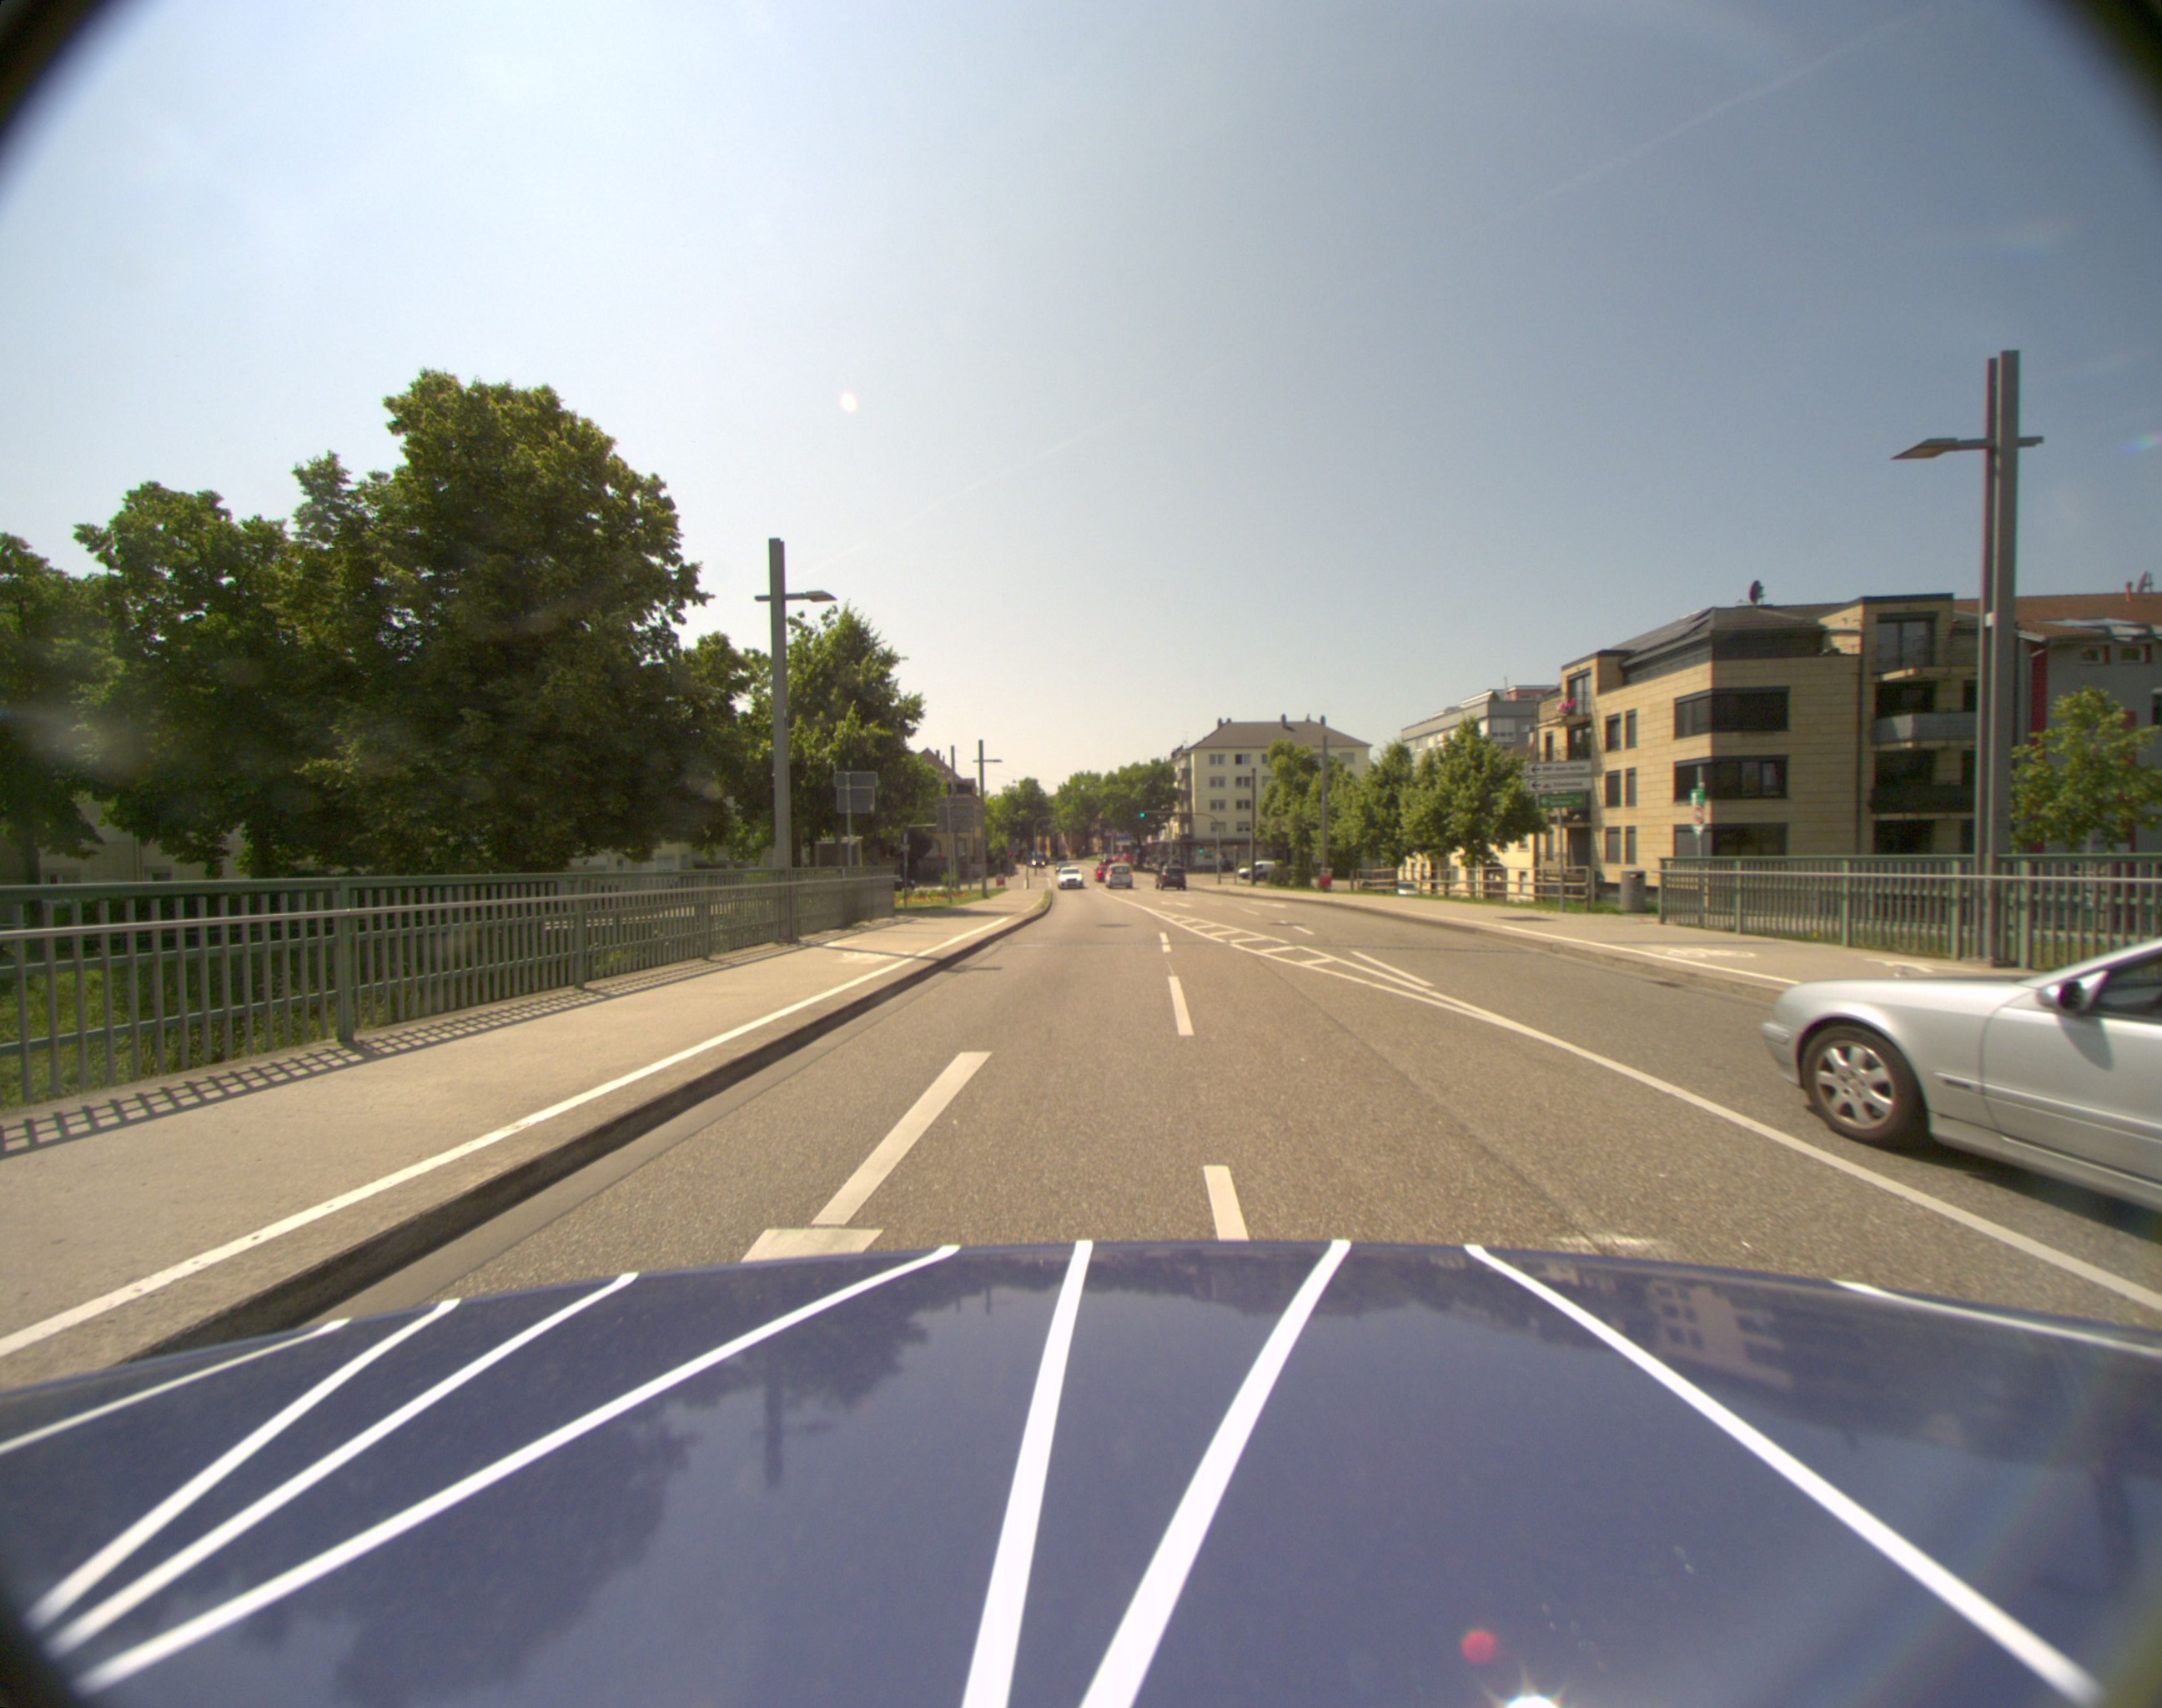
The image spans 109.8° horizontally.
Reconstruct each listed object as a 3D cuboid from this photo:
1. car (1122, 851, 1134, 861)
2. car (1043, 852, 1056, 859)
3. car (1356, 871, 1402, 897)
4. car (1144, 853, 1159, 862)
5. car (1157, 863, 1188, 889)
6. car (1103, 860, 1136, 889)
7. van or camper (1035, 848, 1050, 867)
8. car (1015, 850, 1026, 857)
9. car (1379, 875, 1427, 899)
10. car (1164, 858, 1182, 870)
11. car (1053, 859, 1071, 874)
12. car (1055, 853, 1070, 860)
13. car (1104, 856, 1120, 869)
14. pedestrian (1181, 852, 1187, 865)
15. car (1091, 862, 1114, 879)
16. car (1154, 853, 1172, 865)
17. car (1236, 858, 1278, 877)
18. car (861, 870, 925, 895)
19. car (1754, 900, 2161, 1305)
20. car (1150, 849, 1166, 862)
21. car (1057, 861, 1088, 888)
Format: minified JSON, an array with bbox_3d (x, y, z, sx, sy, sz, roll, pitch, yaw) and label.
[{"bbox_3d":[7.651,0.281,123.596,1.639,1.460,3.632,-1,1,-3],"label":"car"},{"bbox_3d":[-6.983,0.333,167.735,1.763,1.551,4.310,1,0,-19],"label":"car"},{"bbox_3d":[23.236,2.319,59.370,1.818,1.619,5.286,1,2,4],"label":"car"},{"bbox_3d":[10.885,0.487,117.214,1.704,1.279,3.859,-2,1,-4],"label":"car"},{"bbox_3d":[6.358,1.541,53.339,1.741,1.631,3.921,1,1,1],"label":"car"},{"bbox_3d":[2.846,1.464,56.745,1.842,1.849,4.660,-3,1,-4],"label":"car"},{"bbox_3d":[-6.022,0.530,117.846,2.165,2.567,5.841,-2,2,-3],"label":"van or camper"},{"bbox_3d":[-15.091,-0.105,188.891,1.623,1.447,3.704,2,-2,-20],"label":"car"},{"bbox_3d":[22.848,2.332,54.034,1.780,1.424,4.431,-2,0,4],"label":"car"},{"bbox_3d":[11.890,1.297,97.916,1.587,1.450,3.937,-1,1,-3],"label":"car"},{"bbox_3d":[-2.286,1.430,89.330,1.777,1.480,3.996,-3,2,-5],"label":"car"},{"bbox_3d":[-3.711,0.481,152.460,1.844,1.391,4.044,-1,-1,-18],"label":"car"},{"bbox_3d":[4.048,1.100,99.135,1.718,1.477,4.029,-3,2,-2],"label":"car"},{"bbox_3d":[13.531,0.604,100.023,0.629,1.750,0.742,-1,1,-4],"label":"pedestrian"},{"bbox_3d":[1.917,1.534,68.657,1.652,1.455,3.861,1,-2,-5],"label":"car"},{"bbox_3d":[11.373,0.689,105.835,1.626,1.560,4.837,-1,1,-3],"label":"car"},{"bbox_3d":[17.831,1.356,77.006,3.696,1.725,1.892,1,1,-5],"label":"car"},{"bbox_3d":[-15.814,2.365,64.030,4.827,1.623,1.912,-4,3,-45],"label":"car"},{"bbox_3d":[4.684,0.943,2.204,1.702,1.350,4.458,1,0,4],"label":"car"},{"bbox_3d":[11.306,0.231,111.713,1.643,1.829,3.858,-2,1,-4],"label":"car"},{"bbox_3d":[-0.695,1.559,59.248,1.999,1.740,4.442,-3,2,-5],"label":"car"}]
